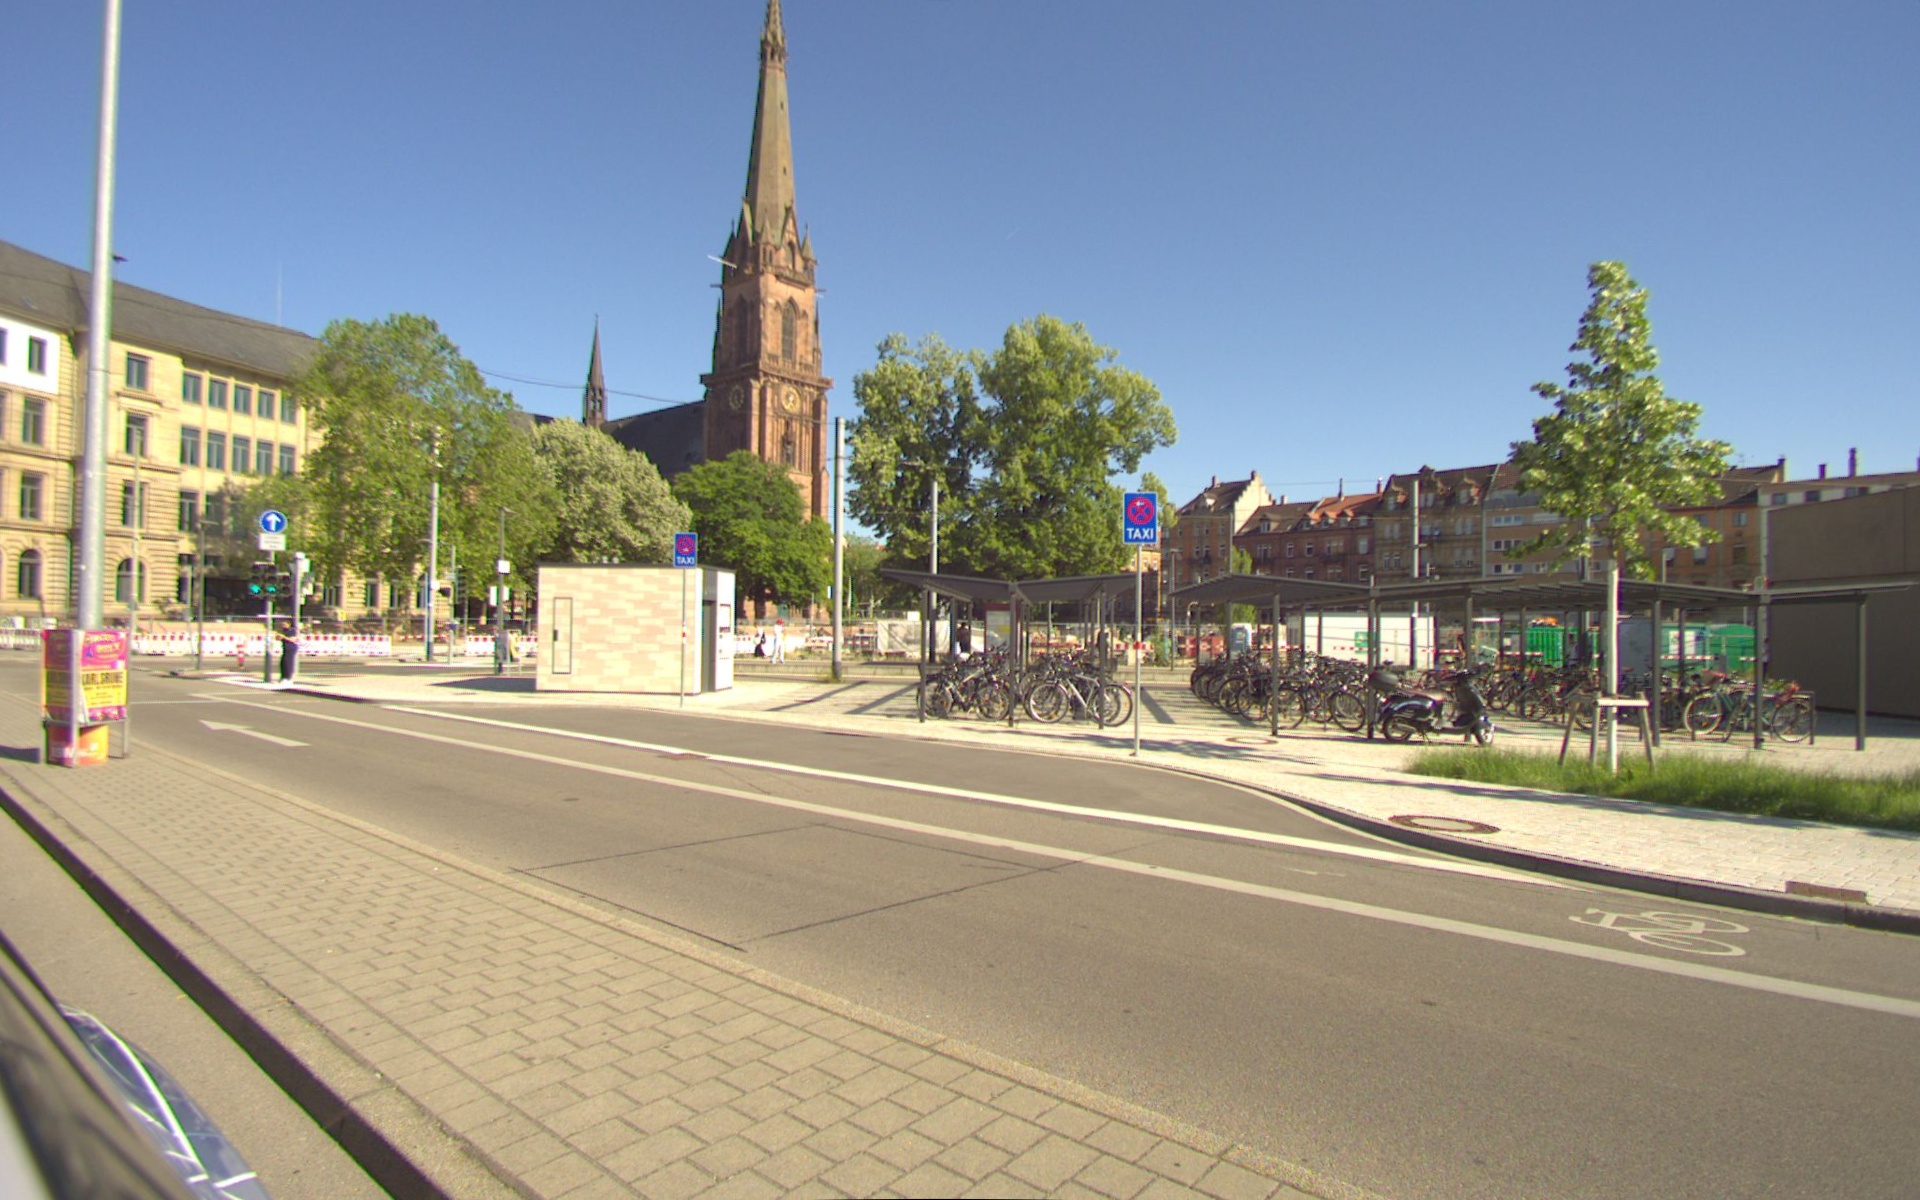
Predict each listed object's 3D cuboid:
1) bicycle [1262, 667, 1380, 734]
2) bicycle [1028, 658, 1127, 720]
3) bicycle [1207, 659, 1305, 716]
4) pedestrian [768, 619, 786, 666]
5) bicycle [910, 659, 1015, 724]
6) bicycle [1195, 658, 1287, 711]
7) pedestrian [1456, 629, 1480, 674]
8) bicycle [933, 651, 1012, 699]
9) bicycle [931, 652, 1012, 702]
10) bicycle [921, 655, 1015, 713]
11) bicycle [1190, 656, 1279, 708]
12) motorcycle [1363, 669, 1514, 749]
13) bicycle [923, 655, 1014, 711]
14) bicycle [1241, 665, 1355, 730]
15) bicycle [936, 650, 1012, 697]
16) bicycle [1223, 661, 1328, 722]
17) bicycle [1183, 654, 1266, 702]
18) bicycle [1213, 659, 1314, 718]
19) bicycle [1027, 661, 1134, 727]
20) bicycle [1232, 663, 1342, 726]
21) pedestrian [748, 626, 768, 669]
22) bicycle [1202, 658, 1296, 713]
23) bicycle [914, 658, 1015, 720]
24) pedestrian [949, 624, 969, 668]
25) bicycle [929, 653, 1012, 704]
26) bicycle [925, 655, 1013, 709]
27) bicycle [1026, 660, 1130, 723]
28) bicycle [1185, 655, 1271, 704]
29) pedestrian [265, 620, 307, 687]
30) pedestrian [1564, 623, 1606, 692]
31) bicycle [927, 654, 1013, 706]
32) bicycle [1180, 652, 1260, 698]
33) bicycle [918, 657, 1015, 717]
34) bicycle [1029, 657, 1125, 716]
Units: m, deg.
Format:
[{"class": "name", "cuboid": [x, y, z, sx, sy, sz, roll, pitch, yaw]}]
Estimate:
[{"class": "bicycle", "cuboid": [6.025, 1.673, 16.947, 1.765, 1.046, 0.567, 1, -3, 4]}, {"class": "bicycle", "cuboid": [2.140, 1.621, 18.564, 1.765, 1.046, 0.567, 1, -3, 4]}, {"class": "bicycle", "cuboid": [5.861, 1.728, 20.091, 1.765, 1.046, 0.567, 1, -3, 4]}, {"class": "pedestrian", "cuboid": [-6.884, 1.602, 37.996, 0.529, 1.736, 0.684, 0, -6, -19]}, {"class": "bicycle", "cuboid": [0.055, 1.565, 17.434, 1.765, 1.046, 0.567, 1, -3, 4]}, {"class": "bicycle", "cuboid": [5.907, 1.767, 21.304, 1.765, 1.046, 0.567, 1, -3, 4]}, {"class": "pedestrian", "cuboid": [17.729, 1.799, 35.359, 0.581, 1.530, 0.559, 1, -2, 6]}, {"class": "bicycle", "cuboid": [0.292, 1.719, 23.254, 1.765, 1.046, 0.567, 1, -3, 4]}, {"class": "bicycle", "cuboid": [0.260, 1.707, 22.652, 1.765, 1.046, 0.567, 1, -3, 4]}, {"class": "bicycle", "cuboid": [0.164, 1.615, 19.528, 1.765, 1.046, 0.567, 1, -3, 4]}, {"class": "bicycle", "cuboid": [5.925, 1.770, 21.899, 1.765, 1.046, 0.567, 1, -3, 4]}, {"class": "motorcycle", "cuboid": [7.172, 1.624, 15.236, 1.962, 1.128, 0.593, 0, -2, 8]}, {"class": "bicycle", "cuboid": [0.182, 1.638, 20.159, 1.765, 1.046, 0.567, 1, -3, 4]}, {"class": "bicycle", "cuboid": [5.840, 1.674, 17.544, 1.765, 1.046, 0.567, 1, -3, 4]}, {"class": "bicycle", "cuboid": [0.338, 1.729, 23.845, 1.765, 1.046, 0.567, 1, -3, 4]}, {"class": "bicycle", "cuboid": [5.843, 1.692, 18.789, 1.765, 1.046, 0.567, 1, -3, 4]}, {"class": "bicycle", "cuboid": [6.129, 1.793, 23.493, 1.765, 1.046, 0.567, 1, -3, 4]}, {"class": "bicycle", "cuboid": [5.809, 1.691, 19.420, 1.765, 1.046, 0.567, 1, -3, 4]}, {"class": "bicycle", "cuboid": [2.043, 1.600, 17.273, 1.765, 1.046, 0.567, 1, -3, 4]}, {"class": "bicycle", "cuboid": [5.840, 1.675, 18.130, 1.765, 1.046, 0.567, 1, -3, 4]}, {"class": "pedestrian", "cuboid": [-8.544, 2.014, 42.788, 0.673, 1.736, 0.537, -3, -6, 6]}, {"class": "bicycle", "cuboid": [5.900, 1.746, 20.706, 1.765, 1.046, 0.567, 1, -3, 4]}, {"class": "bicycle", "cuboid": [0.091, 1.580, 18.085, 1.765, 1.046, 0.567, 1, -3, 4]}, {"class": "pedestrian", "cuboid": [-0.026, 1.760, 39.099, 0.518, 1.667, 0.559, -1, 0, 41]}, {"class": "bicycle", "cuboid": [0.237, 1.698, 22.056, 1.765, 1.046, 0.567, 1, -3, 4]}, {"class": "bicycle", "cuboid": [0.188, 1.670, 20.775, 1.765, 1.046, 0.567, 1, -3, 4]}, {"class": "bicycle", "cuboid": [2.073, 1.604, 17.923, 1.765, 1.046, 0.567, 1, -3, 4]}, {"class": "bicycle", "cuboid": [6.020, 1.776, 22.769, 1.765, 1.046, 0.567, 1, -3, 4]}, {"class": "pedestrian", "cuboid": [-17.580, 1.385, 26.409, 0.648, 1.693, 0.779, -1, 0, 42]}, {"class": "pedestrian", "cuboid": [16.053, 1.467, 26.005, 0.673, 1.736, 0.617, 0, -2, 3]}, {"class": "bicycle", "cuboid": [0.216, 1.684, 21.391, 1.765, 1.046, 0.567, 1, -3, 4]}, {"class": "bicycle", "cuboid": [6.228, 1.792, 24.259, 1.765, 1.046, 0.567, 1, -3, 4]}, {"class": "bicycle", "cuboid": [0.126, 1.602, 18.840, 1.765, 1.046, 0.567, 1, -3, 4]}, {"class": "bicycle", "cuboid": [2.204, 1.634, 19.173, 1.765, 1.046, 0.567, 1, -3, 4]}]
